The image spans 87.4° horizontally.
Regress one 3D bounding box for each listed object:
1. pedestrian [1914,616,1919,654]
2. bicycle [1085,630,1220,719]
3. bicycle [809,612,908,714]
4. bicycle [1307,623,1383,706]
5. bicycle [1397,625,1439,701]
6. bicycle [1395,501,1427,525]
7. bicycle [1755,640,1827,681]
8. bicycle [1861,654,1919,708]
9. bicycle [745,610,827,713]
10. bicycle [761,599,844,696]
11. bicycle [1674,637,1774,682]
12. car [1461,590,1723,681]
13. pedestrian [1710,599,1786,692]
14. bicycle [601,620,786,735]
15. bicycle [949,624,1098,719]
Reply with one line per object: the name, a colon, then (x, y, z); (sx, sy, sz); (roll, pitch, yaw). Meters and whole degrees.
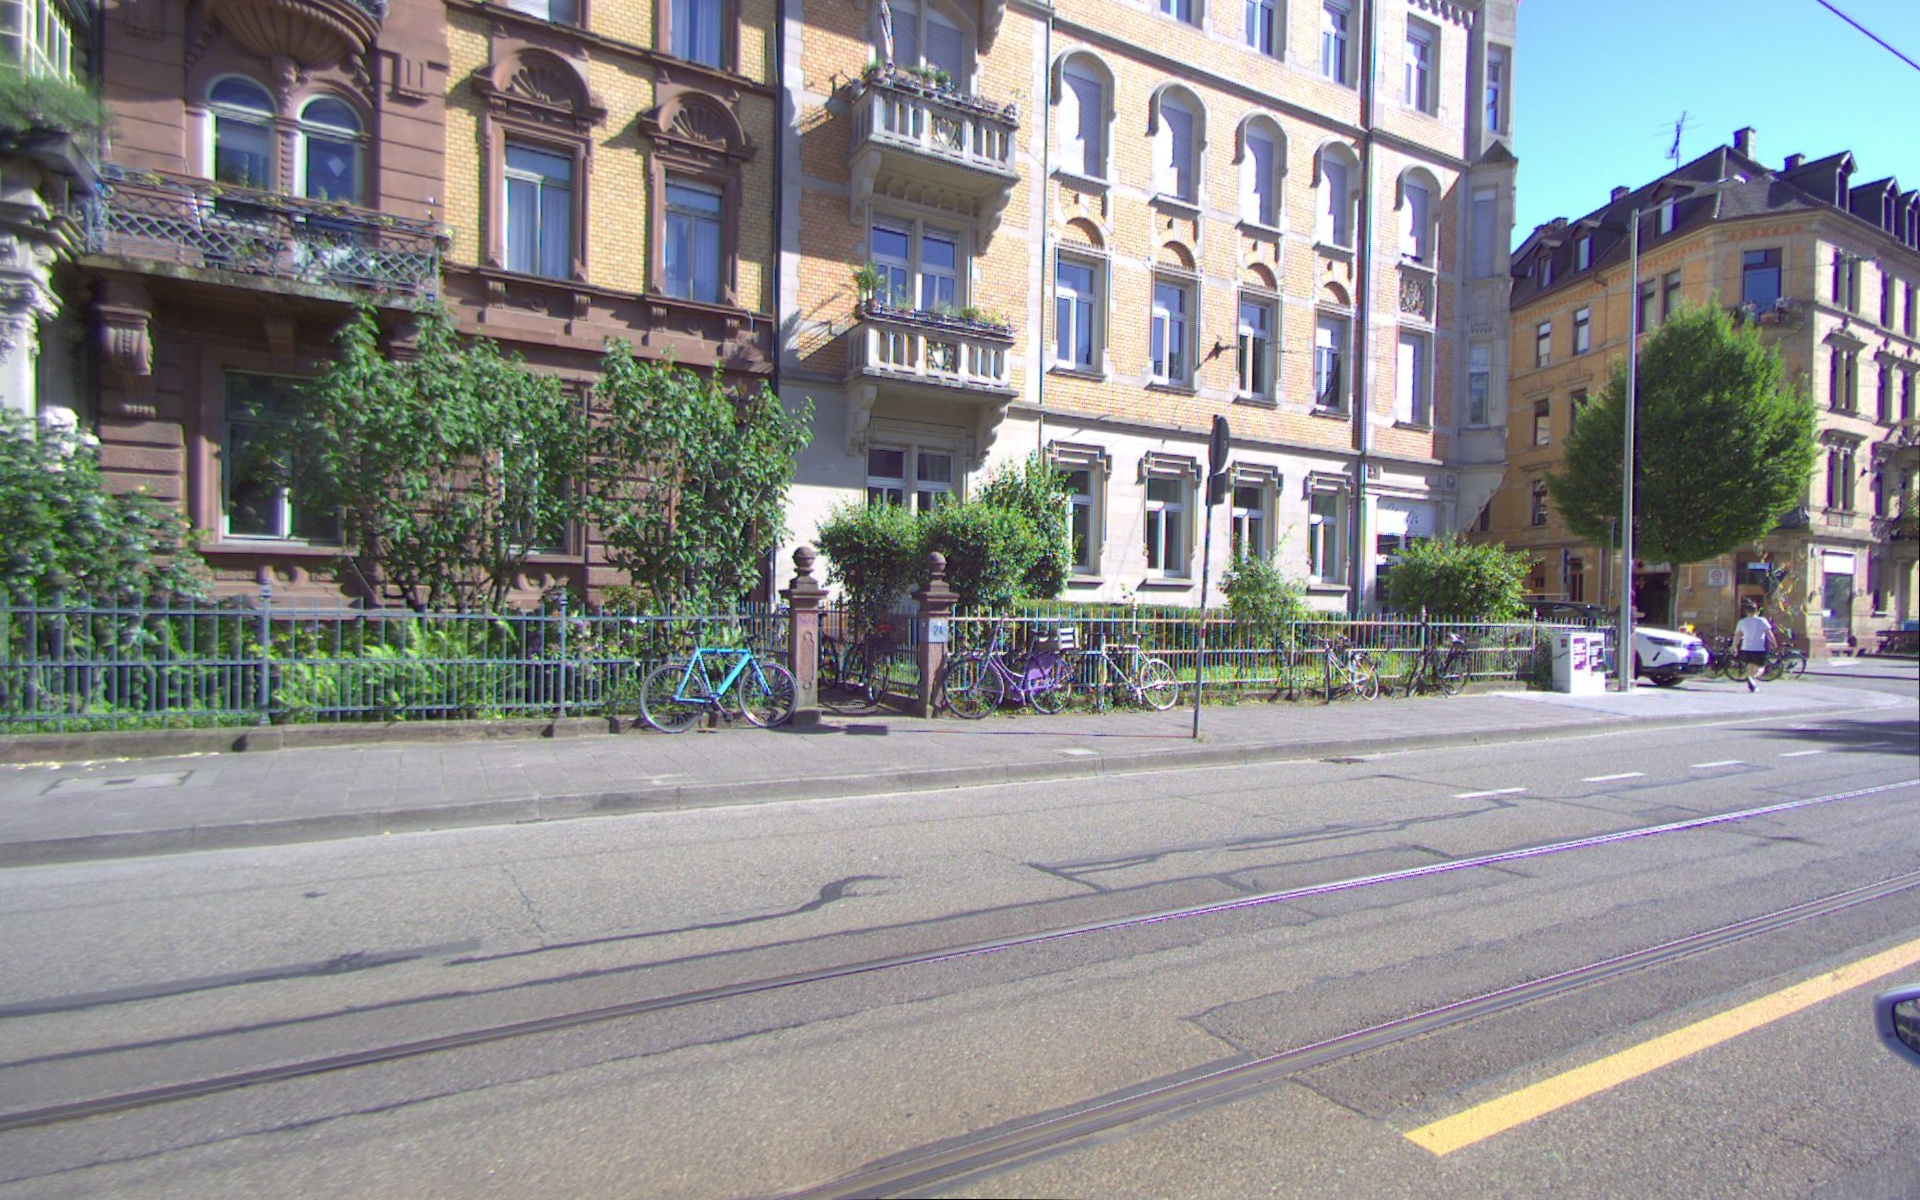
pedestrian: (35.015, 1.244, 36.113); (0.570, 1.370, 0.897); (1, -2, -27)
bicycle: (2.499, 0.932, 12.987); (1.747, 1.047, 0.560); (1, 2, -30)
bicycle: (-1.304, 0.750, 12.549); (0.558, 1.047, 1.739); (1, 4, -29)
bicycle: (5.755, 0.925, 14.962); (0.556, 1.047, 1.761); (6, 5, 36)
bicycle: (7.328, 0.978, 16.101); (0.554, 1.047, 1.766); (2, 2, 24)
bicycle: (25.185, -4.859, 56.101); (0.545, 1.141, 2.130); (1, 0, -7)
bicycle: (20.981, 1.514, 25.382); (1.270, 0.926, 0.620); (2, 0, 26)
bicycle: (17.623, 1.506, 18.578); (1.268, 0.926, 0.621); (2, 0, 9)
bicycle: (-2.139, 0.709, 12.209); (0.473, 1.047, 1.567); (1, 4, -29)
bicycle: (-2.252, 0.632, 14.231); (0.558, 1.170, 1.753); (1, 4, -29)
bicycle: (17.974, 1.391, 23.682); (1.755, 0.926, 0.620); (2, 0, 26)
car: (13.517, 0.687, 21.804); (1.941, 1.665, 4.430); (2, 1, -26)
pedestrian: (15.649, 0.893, 19.952); (1.071, 1.746, 0.824); (2, 1, -34)
bicycle: (-2.697, 0.753, 10.224); (1.746, 1.047, 0.560); (0, 2, -29)
bicycle: (0.774, 0.824, 12.060); (1.747, 1.047, 0.560); (1, 2, -30)
